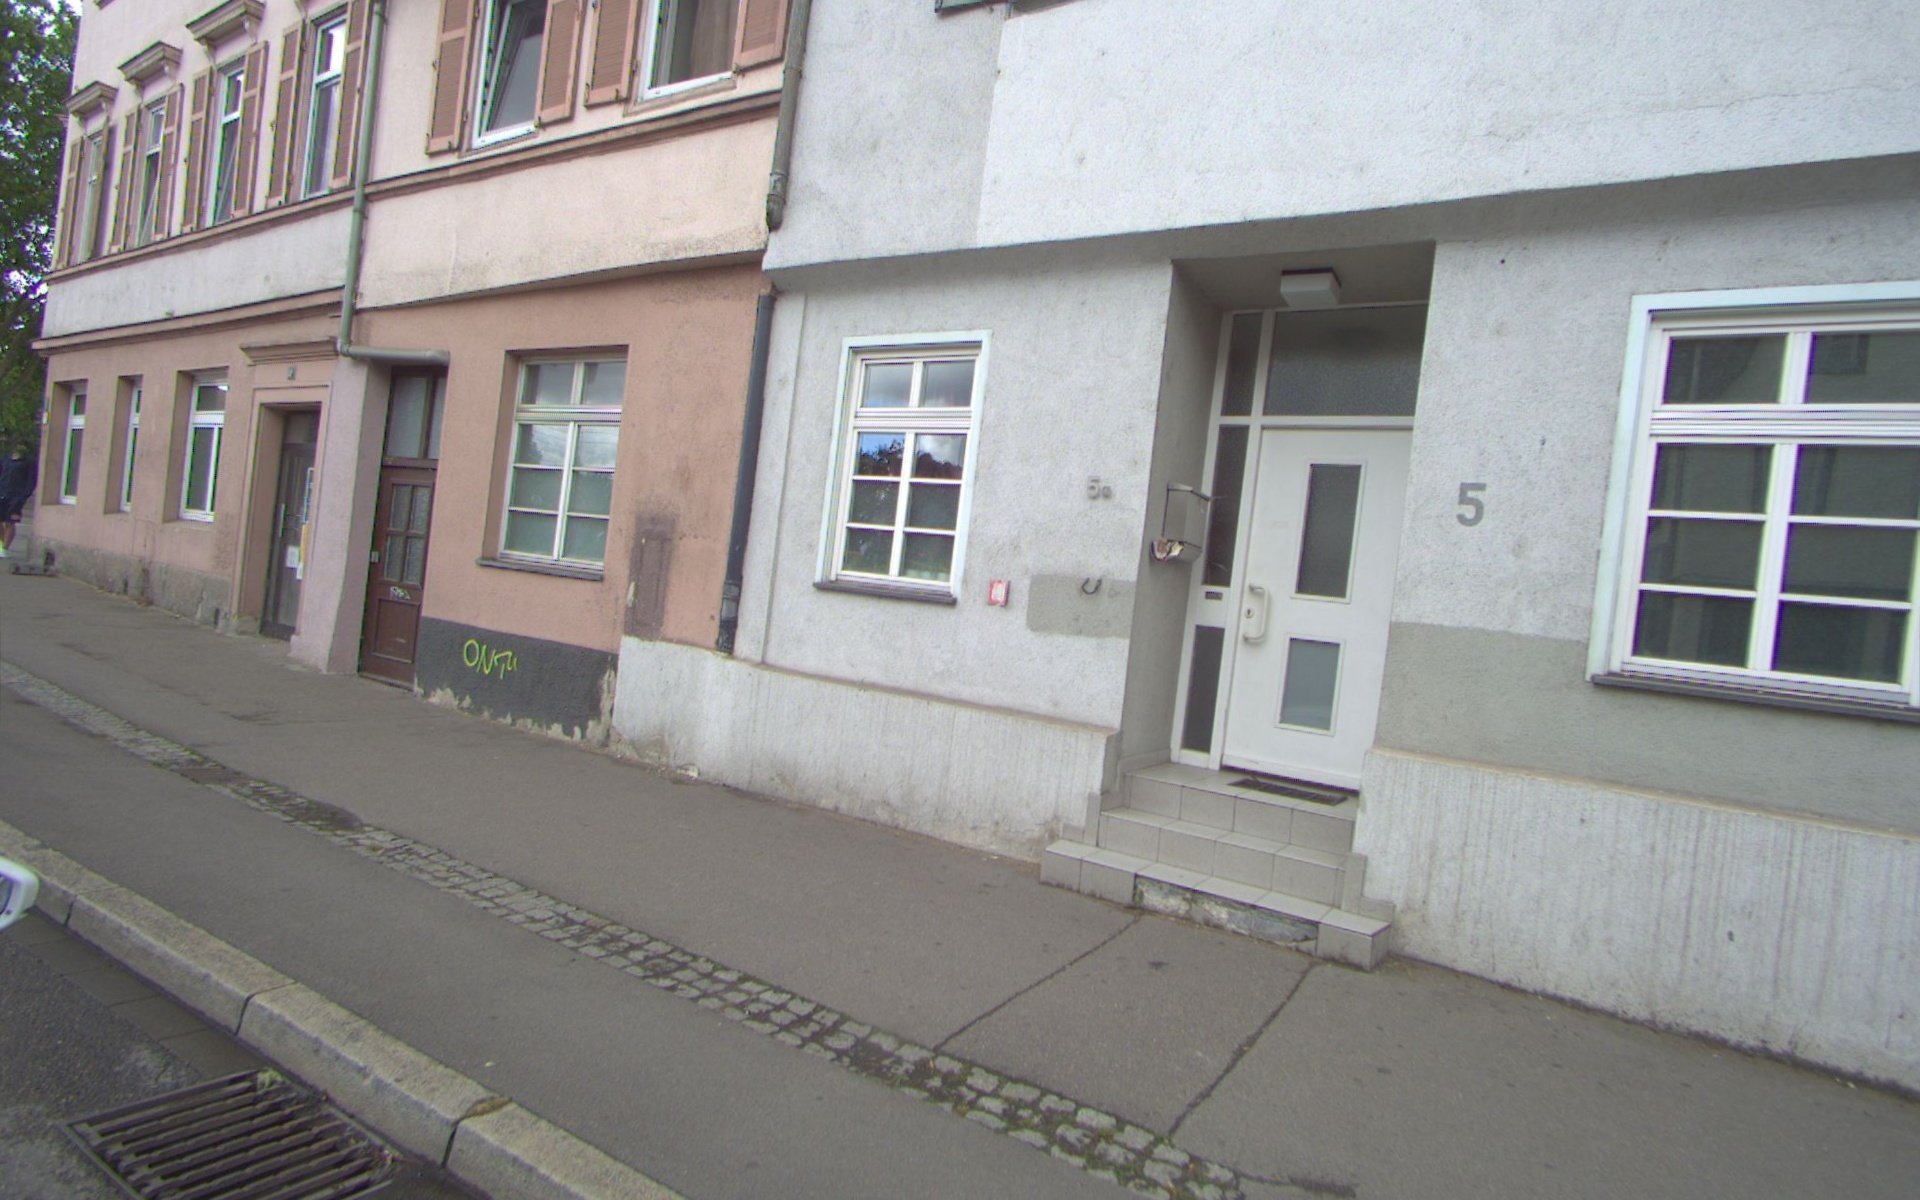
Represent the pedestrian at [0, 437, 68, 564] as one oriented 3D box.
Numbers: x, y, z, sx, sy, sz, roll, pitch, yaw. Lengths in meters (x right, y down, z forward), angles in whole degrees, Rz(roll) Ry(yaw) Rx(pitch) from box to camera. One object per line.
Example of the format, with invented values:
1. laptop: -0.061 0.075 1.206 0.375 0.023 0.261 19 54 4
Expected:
1. pedestrian: -14.783 -1.559 15.612 0.666 1.880 1.153 7 2 3
